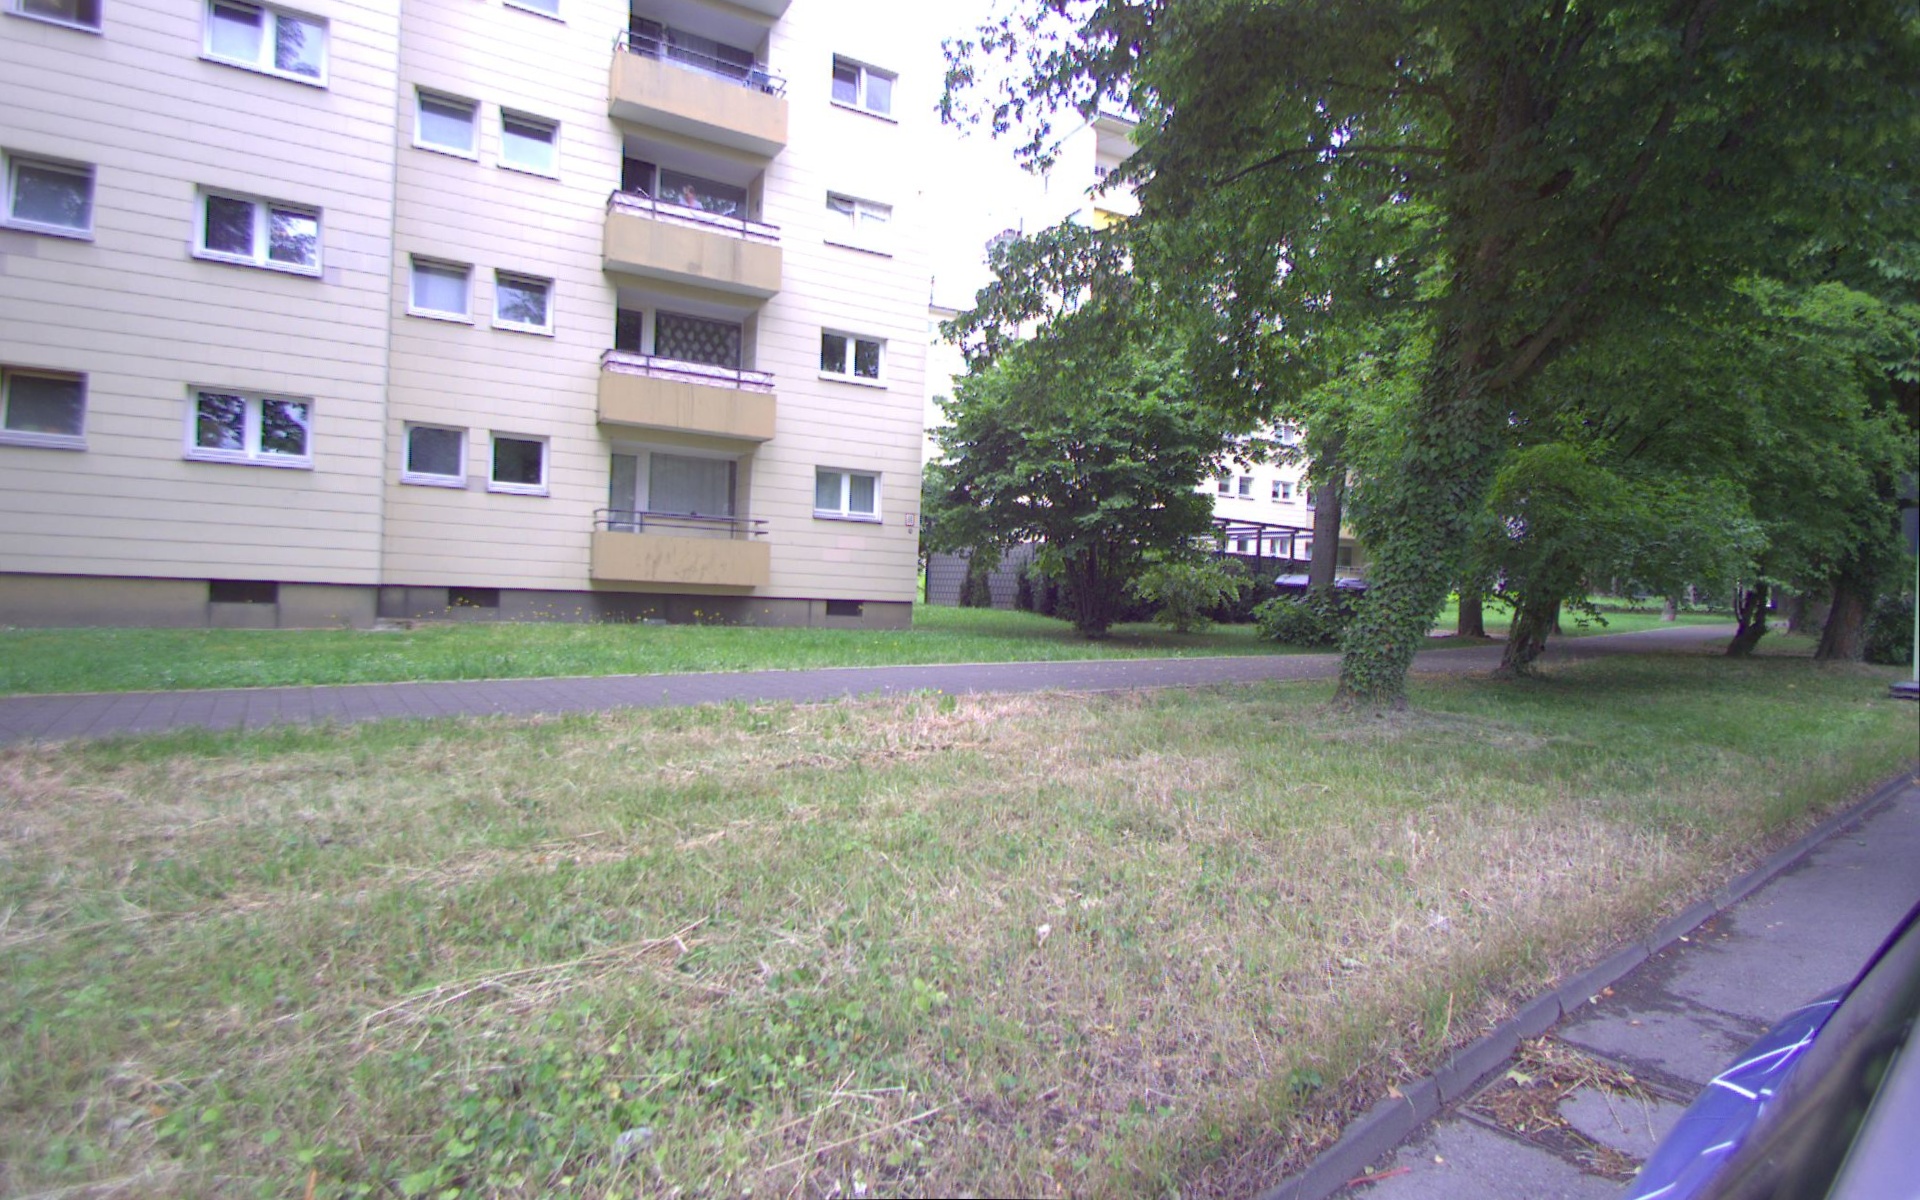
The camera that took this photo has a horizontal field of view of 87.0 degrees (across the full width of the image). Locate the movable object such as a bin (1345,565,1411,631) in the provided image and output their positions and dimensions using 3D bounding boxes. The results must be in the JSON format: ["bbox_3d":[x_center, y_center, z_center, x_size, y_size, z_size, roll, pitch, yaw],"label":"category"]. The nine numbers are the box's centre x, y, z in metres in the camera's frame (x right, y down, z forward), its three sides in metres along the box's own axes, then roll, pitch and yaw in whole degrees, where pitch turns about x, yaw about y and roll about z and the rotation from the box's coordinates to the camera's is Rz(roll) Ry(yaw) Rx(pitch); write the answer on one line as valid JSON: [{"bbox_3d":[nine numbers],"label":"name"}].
[{"bbox_3d":[11.046,-0.077,26.758,1.058,1.662,1.238,-1,4,-44],"label":"movable object such as a bin"}]

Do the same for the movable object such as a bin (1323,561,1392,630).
[{"bbox_3d":[10.143,-0.139,25.833,1.004,1.662,1.276,-1,4,-44],"label":"movable object such as a bin"}]

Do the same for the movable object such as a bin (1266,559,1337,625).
[{"bbox_3d":[9.058,-0.236,26.886,1.004,1.662,1.432,-1,4,-44],"label":"movable object such as a bin"}]

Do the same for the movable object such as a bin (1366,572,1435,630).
[{"bbox_3d":[11.972,0.004,27.518,1.182,1.492,1.326,-1,4,-44],"label":"movable object such as a bin"}]

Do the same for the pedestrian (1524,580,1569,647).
[{"bbox_3d":[12.538,0.276,21.636,0.687,1.398,0.597,2,2,42],"label":"pedestrian"}]
